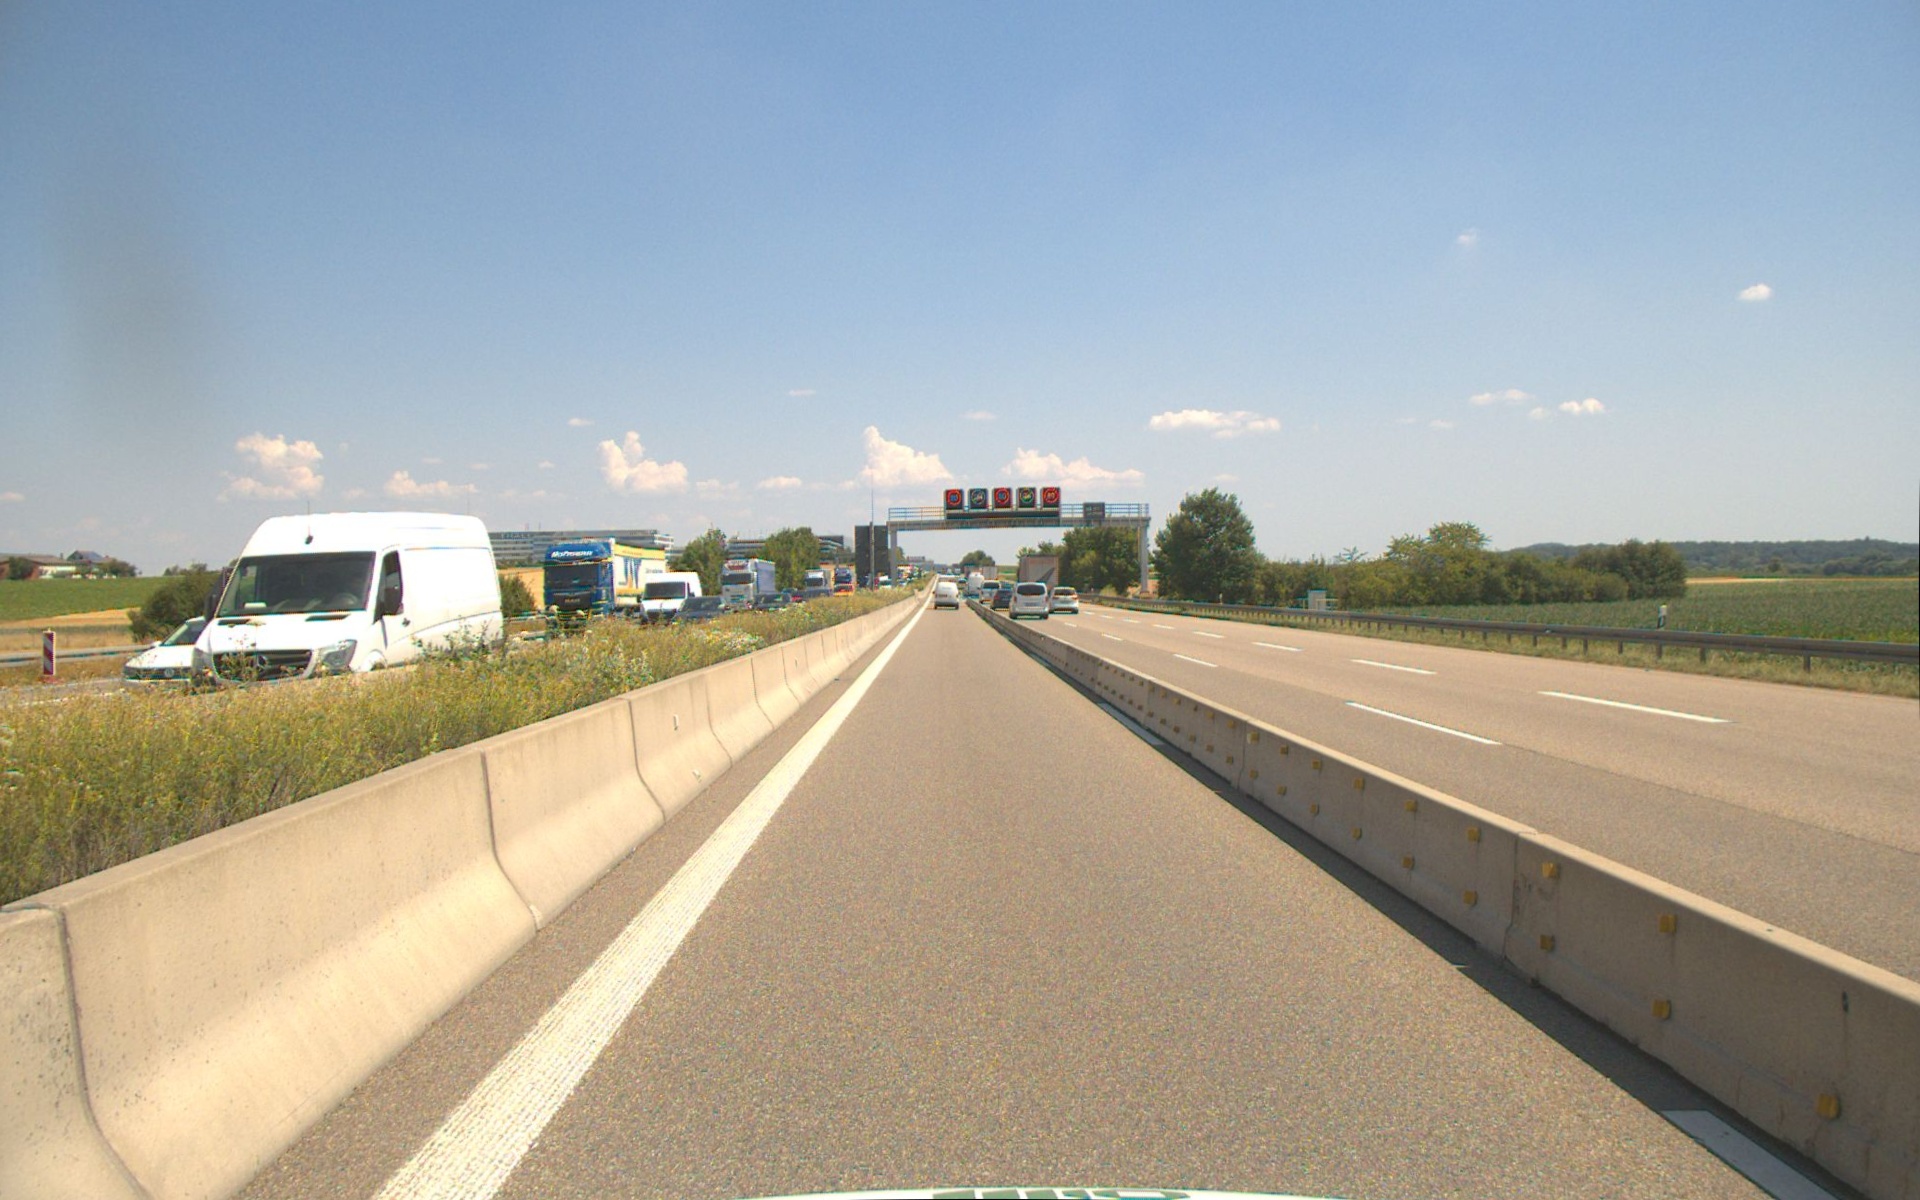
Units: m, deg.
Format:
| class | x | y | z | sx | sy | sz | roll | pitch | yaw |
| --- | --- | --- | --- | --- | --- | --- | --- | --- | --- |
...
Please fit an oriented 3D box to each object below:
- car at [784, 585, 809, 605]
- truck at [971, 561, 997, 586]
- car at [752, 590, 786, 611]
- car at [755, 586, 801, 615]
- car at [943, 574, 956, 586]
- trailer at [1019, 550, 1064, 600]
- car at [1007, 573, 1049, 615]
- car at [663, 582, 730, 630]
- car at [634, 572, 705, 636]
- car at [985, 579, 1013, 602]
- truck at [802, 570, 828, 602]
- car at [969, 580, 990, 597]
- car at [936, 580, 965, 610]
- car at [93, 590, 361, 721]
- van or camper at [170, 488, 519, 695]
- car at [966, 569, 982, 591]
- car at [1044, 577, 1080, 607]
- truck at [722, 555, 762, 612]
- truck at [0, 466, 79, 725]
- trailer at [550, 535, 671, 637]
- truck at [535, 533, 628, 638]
| class | x | y | z | sx | sy | sz | roll | pitch | yaw |
| --- | --- | --- | --- | --- | --- | --- | --- | --- | --- |
| car | -12.931 | -0.411 | 130.864 | 1.555 | 1.534 | 4.228 | -1 | 1 | 0 |
| truck | 3.789 | -4.230 | 264.816 | 3.738 | 3.973 | 9.578 | -1 | 1 | -1 |
| car | -12.123 | 0.020 | 105.129 | 1.712 | 1.288 | 4.433 | 0 | -1 | -1 |
| car | -8.757 | 0.028 | 80.010 | 1.743 | 1.358 | 4.928 | 0 | 0 | -1 |
| car | -1.549 | -3.024 | 250.840 | 1.953 | 1.867 | 3.999 | 0 | 0 | -1 |
| trailer | 6.806 | -2.001 | 139.411 | 3.211 | 4.036 | 9.111 | 0 | 0 | -1 |
| car | 3.524 | -0.300 | 86.693 | 1.953 | 2.157 | 3.999 | 0 | 0 | -1 |
| car | -8.770 | 0.159 | 55.314 | 1.565 | 1.494 | 4.532 | -1 | 1 | -1 |
| car | -12.172 | 0.129 | 69.640 | 2.005 | 2.544 | 5.811 | -1 | 1 | -1 |
| car | 2.628 | -0.633 | 111.628 | 1.737 | 1.472 | 3.999 | 0 | 0 | -1 |
| truck | -17.360 | -1.715 | 198.229 | 2.643 | 3.649 | 4.000 | -2 | 1 | 0 |
| car | 1.693 | -1.029 | 145.981 | 1.737 | 1.472 | 3.999 | 0 | 0 | -1 |
| car | -0.694 | -0.333 | 115.289 | 1.953 | 2.049 | 3.999 | 0 | 0 | -1 |
| car | -11.263 | 0.759 | 25.916 | 1.848 | 1.739 | 5.520 | -3 | 1 | -2 |
| van or camper | -7.706 | -0.124 | 21.735 | 1.994 | 2.260 | 7.206 | 0 | 0 | -1 |
| car | 1.543 | -2.271 | 188.724 | 1.737 | 2.434 | 3.999 | 0 | 0 | -1 |
| car | 6.423 | -0.480 | 104.588 | 1.953 | 1.825 | 3.999 | 0 | 0 | -1 |
| truck | -16.459 | -1.228 | 125.130 | 2.362 | 4.158 | 4.659 | -1 | 0 | 0 |
| truck | -14.938 | 0.034 | 18.677 | 2.738 | 3.672 | 13.288 | -3 | 0 | 0 |
| trailer | -15.917 | -0.668 | 76.567 | 2.753 | 4.200 | 14.127 | -1 | 1 | -1 |
| truck | -15.762 | -0.615 | 69.208 | 2.753 | 4.200 | 4.841 | -1 | 1 | -1 |
